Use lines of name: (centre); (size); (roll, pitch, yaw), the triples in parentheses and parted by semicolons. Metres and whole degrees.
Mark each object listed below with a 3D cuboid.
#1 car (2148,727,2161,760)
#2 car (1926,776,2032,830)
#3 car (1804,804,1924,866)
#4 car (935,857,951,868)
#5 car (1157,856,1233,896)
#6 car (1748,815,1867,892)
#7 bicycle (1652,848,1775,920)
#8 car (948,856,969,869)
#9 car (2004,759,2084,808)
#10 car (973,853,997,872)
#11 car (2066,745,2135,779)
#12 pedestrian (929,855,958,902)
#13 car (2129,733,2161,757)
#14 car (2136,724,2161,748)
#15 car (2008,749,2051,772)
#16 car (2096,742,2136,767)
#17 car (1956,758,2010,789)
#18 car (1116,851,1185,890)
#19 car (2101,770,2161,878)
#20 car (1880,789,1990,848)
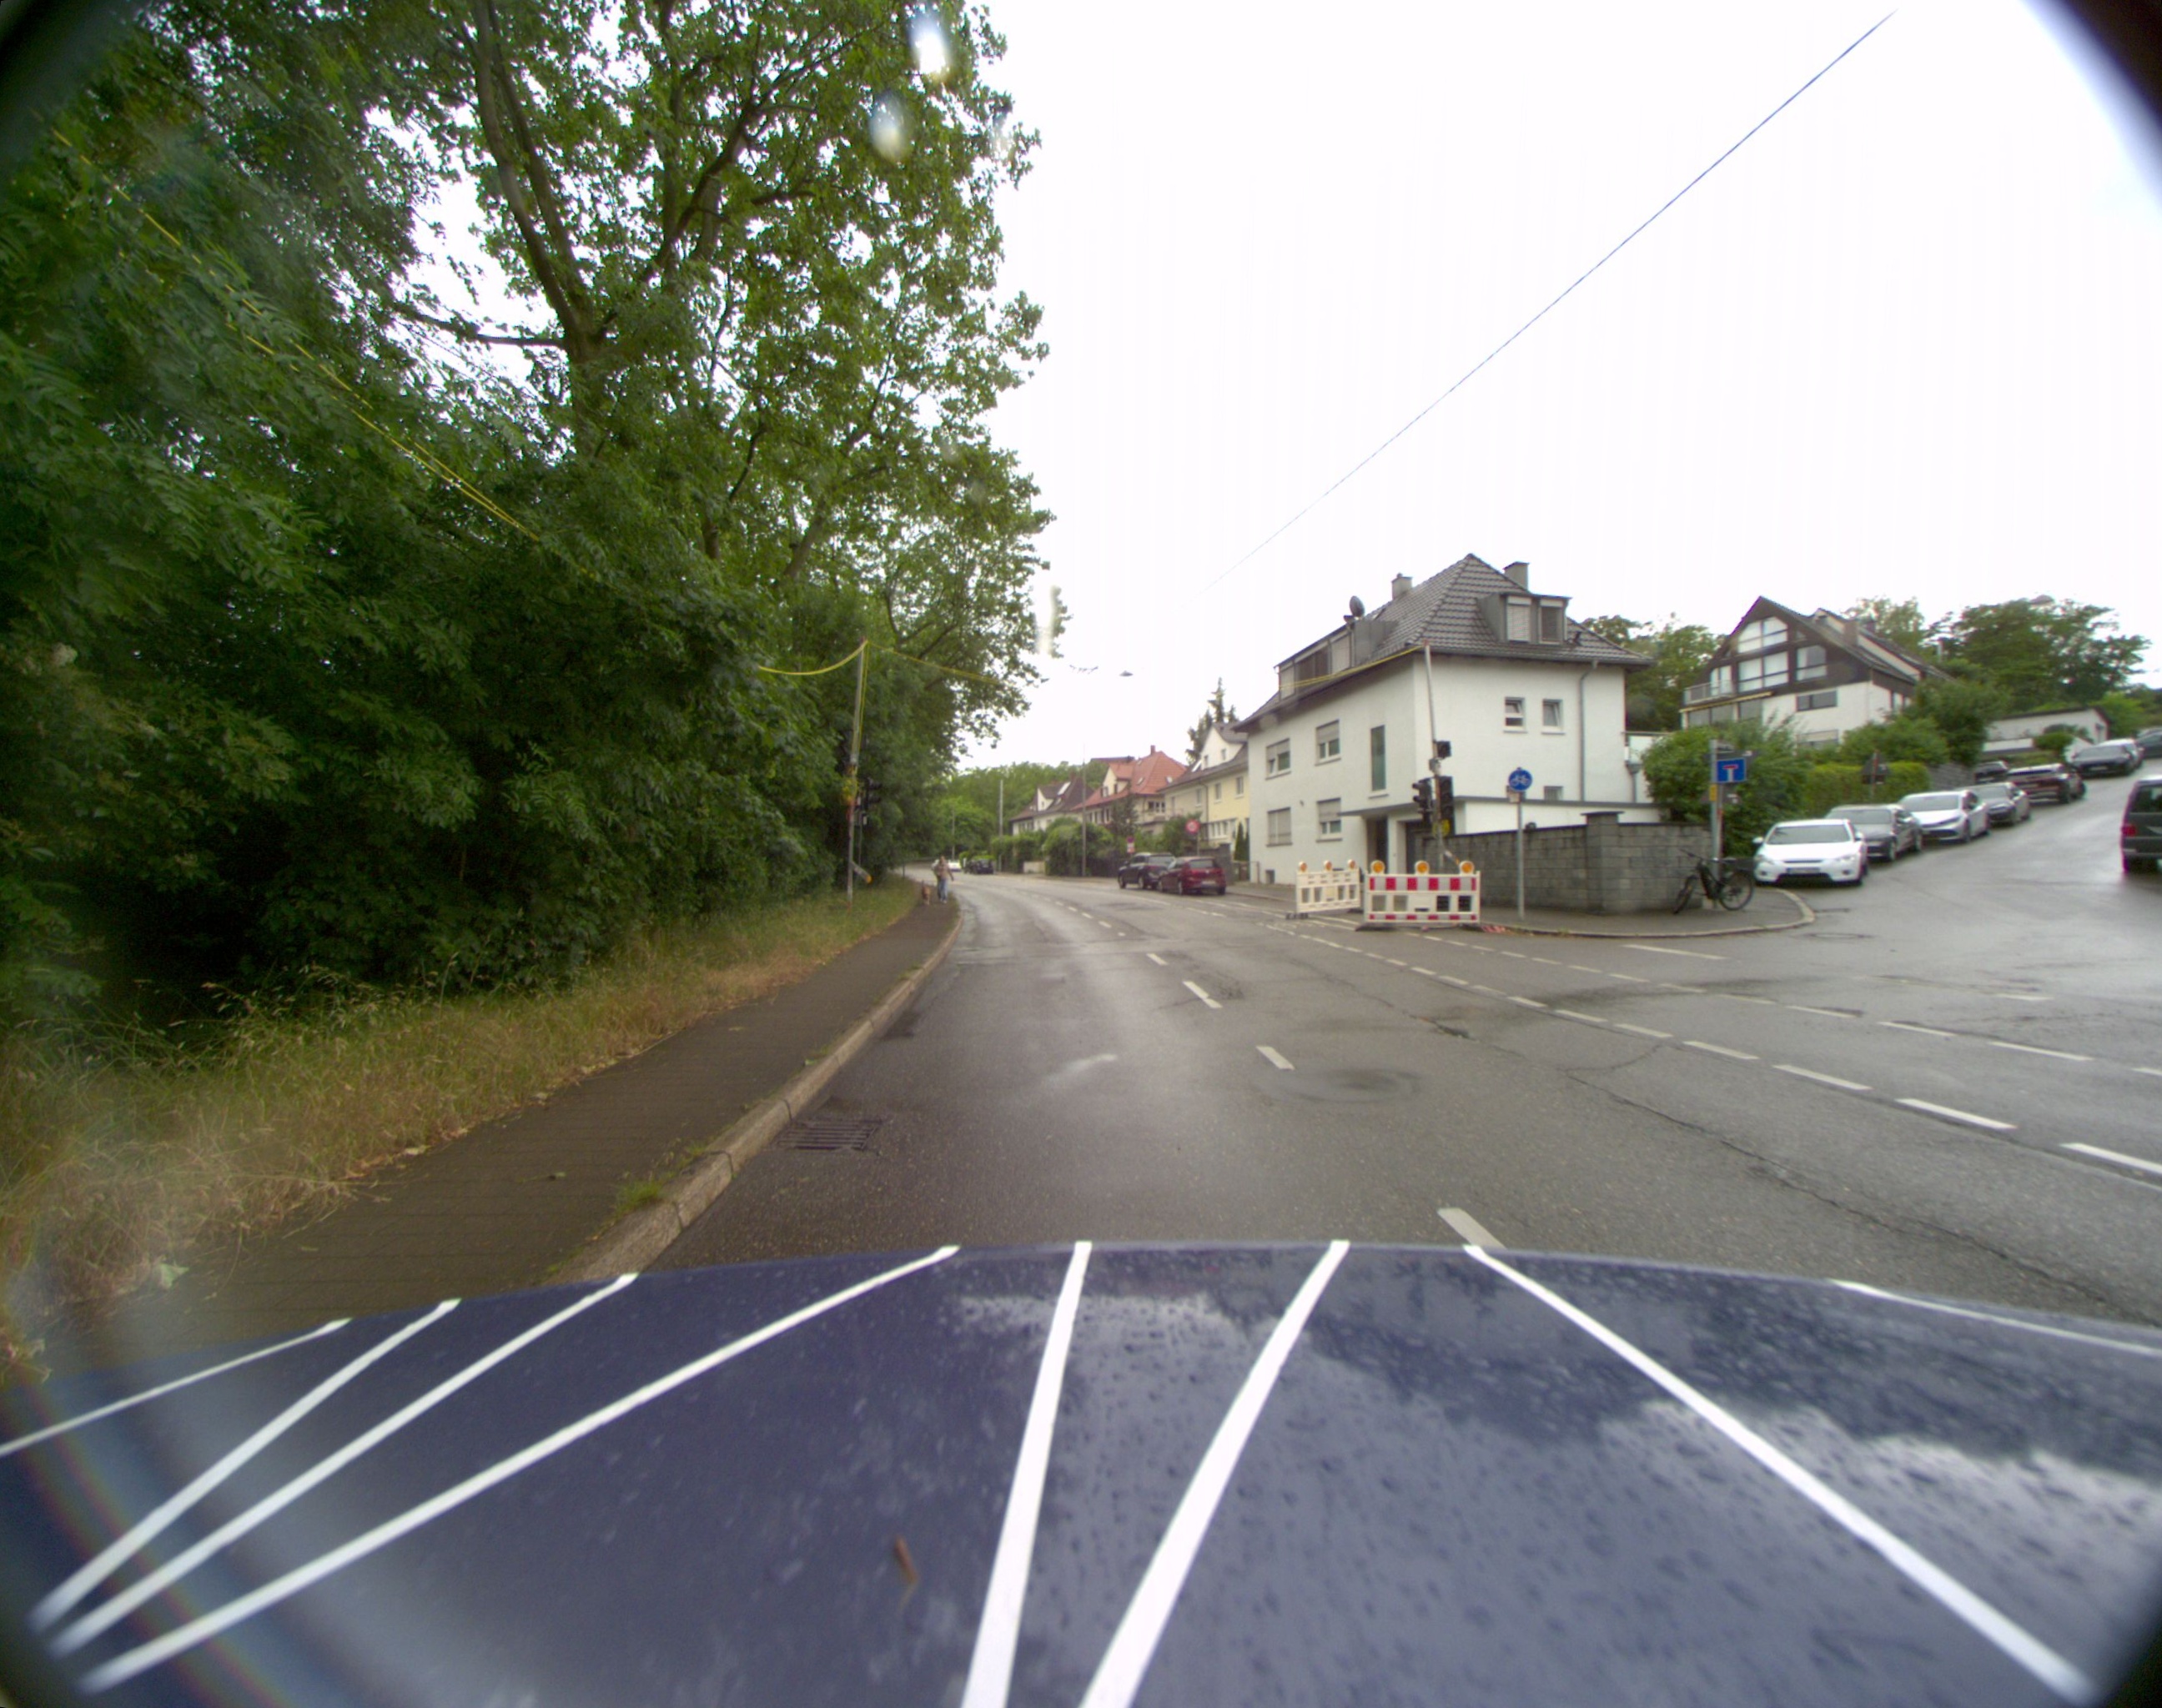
car: (72.468, -7.461, 48.988); (2.003, 2.000, 3.993); (-2, -4, -32)
car: (32.331, -1.838, 27.341); (4.111, 1.430, 1.921); (-9, 4, -33)
car: (22.468, -0.563, 21.766); (3.910, 1.380, 1.719); (-7, 3, -34)
car: (-18.739, 1.122, 103.018); (1.691, 1.419, 3.770); (-2, 0, -17)
car: (4.387, 0.814, 29.912); (1.787, 1.423, 3.844); (-2, 0, -10)
car: (17.781, -0.052, 18.544); (4.126, 1.455, 1.849); (-7, 4, -43)
bicycle: (11.592, 0.534, 13.942); (2.006, 1.233, 0.510); (-2, 3, -8)
car: (-15.231, 1.062, 94.183); (2.071, 1.477, 4.556); (-2, 0, -16)
car: (40.723, -2.991, 32.119); (4.004, 1.617, 1.638); (-8, 4, -32)
car: (-9.605, 0.834, 75.962); (1.882, 1.814, 4.121); (-2, 0, -14)
car: (54.818, -4.890, 40.847); (4.034, 1.511, 1.786); (-2, 0, -31)
pedestrian: (-4.531, 0.794, 25.135); (0.735, 1.490, 0.785); (-3, 1, -1)
car: (68.328, -6.950, 47.704); (1.286, 1.310, 2.945); (-3, 1, -36)
car: (81.121, -8.882, 55.966); (1.754, 1.508, 3.961); (-3, 1, -35)
car: (57.242, -5.649, 45.872); (3.656, 1.205, 1.577); (-7, 3, -38)
car: (59.840, -5.753, 43.905); (2.988, 1.191, 1.305); (-6, 3, -35)
car: (52.871, -4.660, 44.524); (4.020, 1.545, 1.812); (-3, 1, -37)
car: (3.134, 0.727, 35.040); (1.798, 1.630, 4.150); (-1, 0, -15)
car: (23.887, -0.756, 16.268); (4.497, 2.003, 1.996); (-7, 3, -31)
car: (27.273, -1.158, 24.238); (3.951, 1.462, 1.755); (-7, 3, -33)
